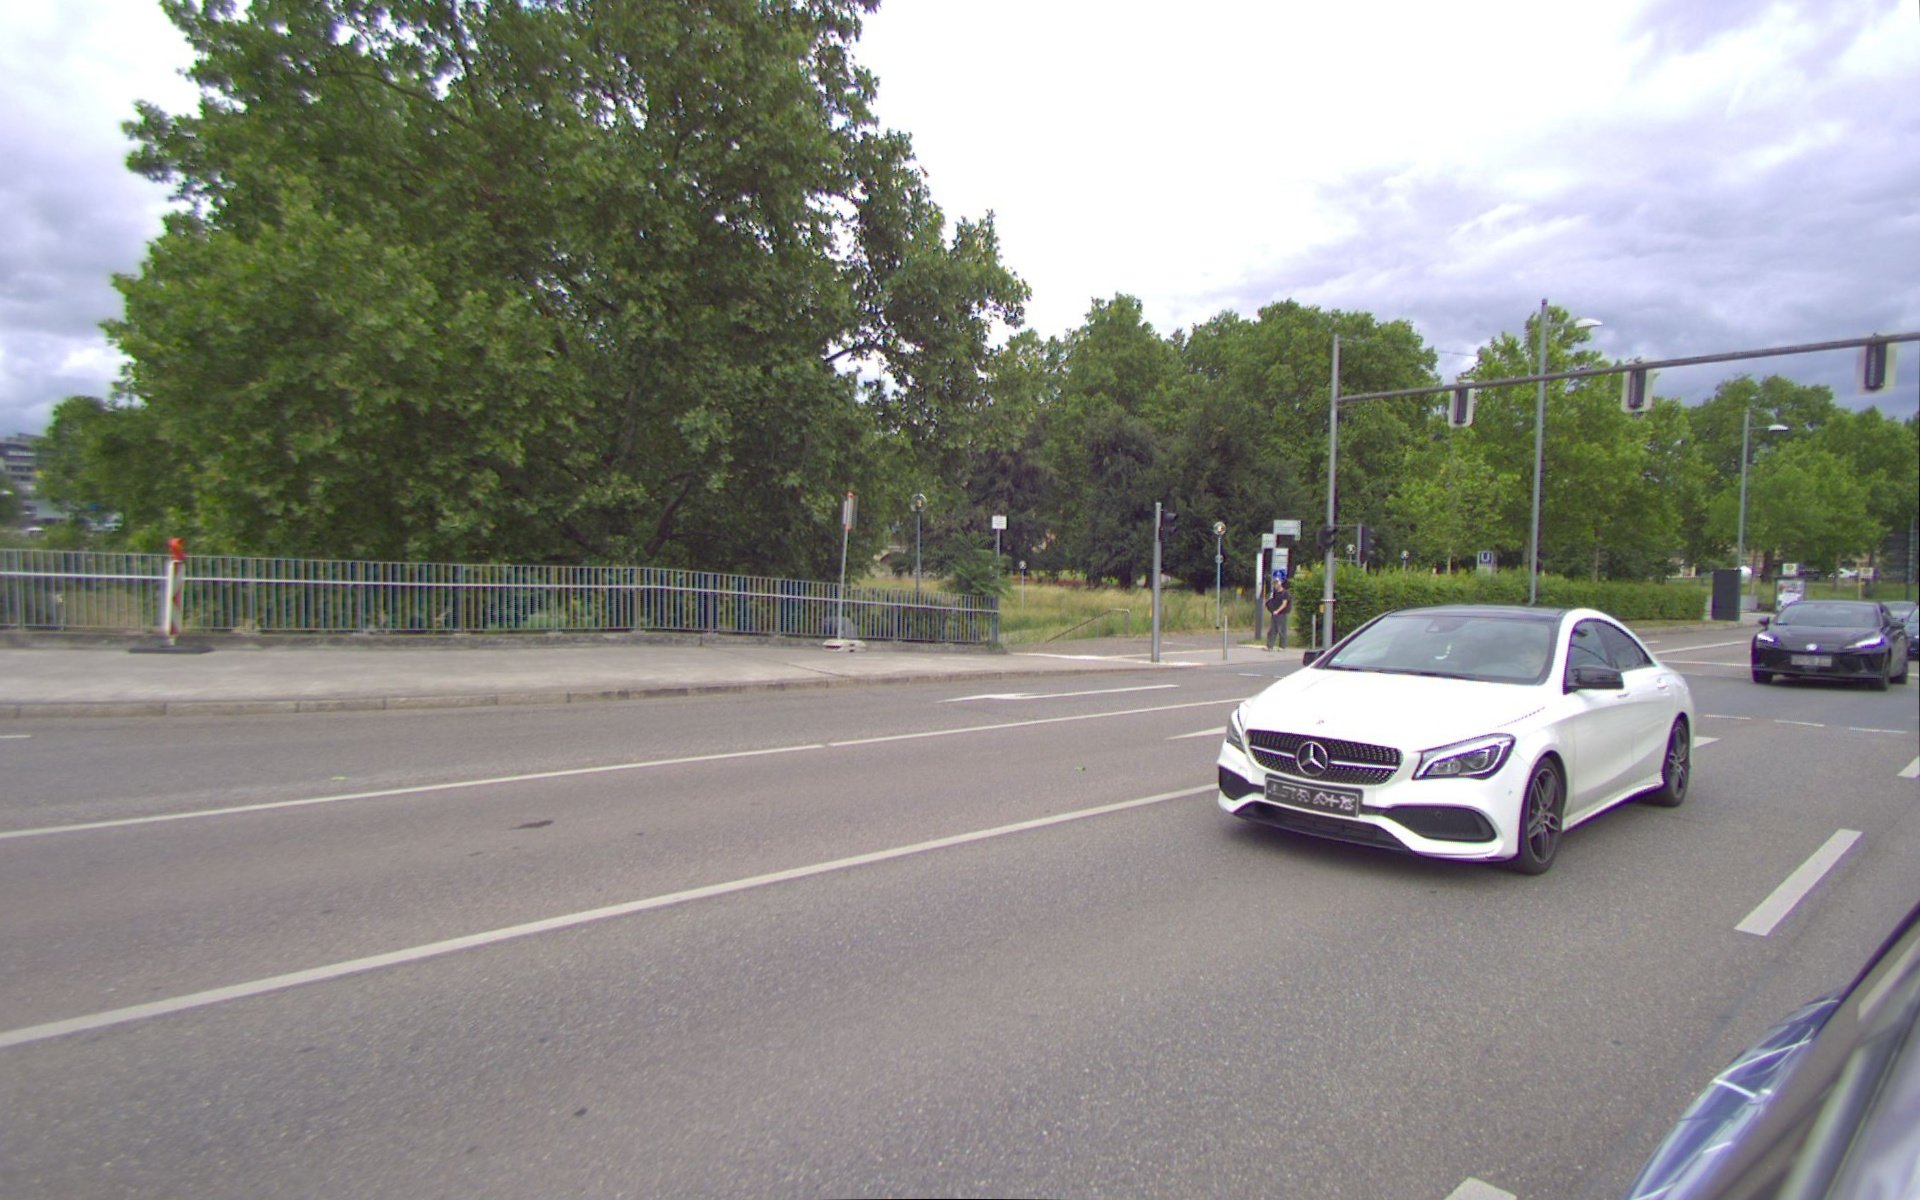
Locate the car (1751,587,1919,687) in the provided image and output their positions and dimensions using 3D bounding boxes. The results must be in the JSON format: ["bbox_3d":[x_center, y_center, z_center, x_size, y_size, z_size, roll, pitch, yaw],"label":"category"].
[{"bbox_3d":[15.633,0.580,17.915,4.048,1.543,1.828,0,1,-41],"label":"car"}]

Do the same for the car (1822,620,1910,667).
[{"bbox_3d":[32.542,1.526,36.319,3.930,1.438,1.866,-1,1,-41],"label":"car"}]

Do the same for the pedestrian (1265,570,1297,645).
[{"bbox_3d":[7.804,0.173,24.598,0.610,1.786,0.478,0,1,-44],"label":"pedestrian"}]

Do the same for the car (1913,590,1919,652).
[{"bbox_3d":[25.921,0.555,26.042,3.930,1.557,1.572,2,-2,-40],"label":"car"}]

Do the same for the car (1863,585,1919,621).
[{"bbox_3d":[43.105,0.092,46.637,3.931,1.556,1.722,-1,2,-41],"label":"car"}]

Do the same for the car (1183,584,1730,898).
[{"bbox_3d":[3.563,0.624,6.823,4.427,1.441,1.722,-1,2,-41],"label":"car"}]
